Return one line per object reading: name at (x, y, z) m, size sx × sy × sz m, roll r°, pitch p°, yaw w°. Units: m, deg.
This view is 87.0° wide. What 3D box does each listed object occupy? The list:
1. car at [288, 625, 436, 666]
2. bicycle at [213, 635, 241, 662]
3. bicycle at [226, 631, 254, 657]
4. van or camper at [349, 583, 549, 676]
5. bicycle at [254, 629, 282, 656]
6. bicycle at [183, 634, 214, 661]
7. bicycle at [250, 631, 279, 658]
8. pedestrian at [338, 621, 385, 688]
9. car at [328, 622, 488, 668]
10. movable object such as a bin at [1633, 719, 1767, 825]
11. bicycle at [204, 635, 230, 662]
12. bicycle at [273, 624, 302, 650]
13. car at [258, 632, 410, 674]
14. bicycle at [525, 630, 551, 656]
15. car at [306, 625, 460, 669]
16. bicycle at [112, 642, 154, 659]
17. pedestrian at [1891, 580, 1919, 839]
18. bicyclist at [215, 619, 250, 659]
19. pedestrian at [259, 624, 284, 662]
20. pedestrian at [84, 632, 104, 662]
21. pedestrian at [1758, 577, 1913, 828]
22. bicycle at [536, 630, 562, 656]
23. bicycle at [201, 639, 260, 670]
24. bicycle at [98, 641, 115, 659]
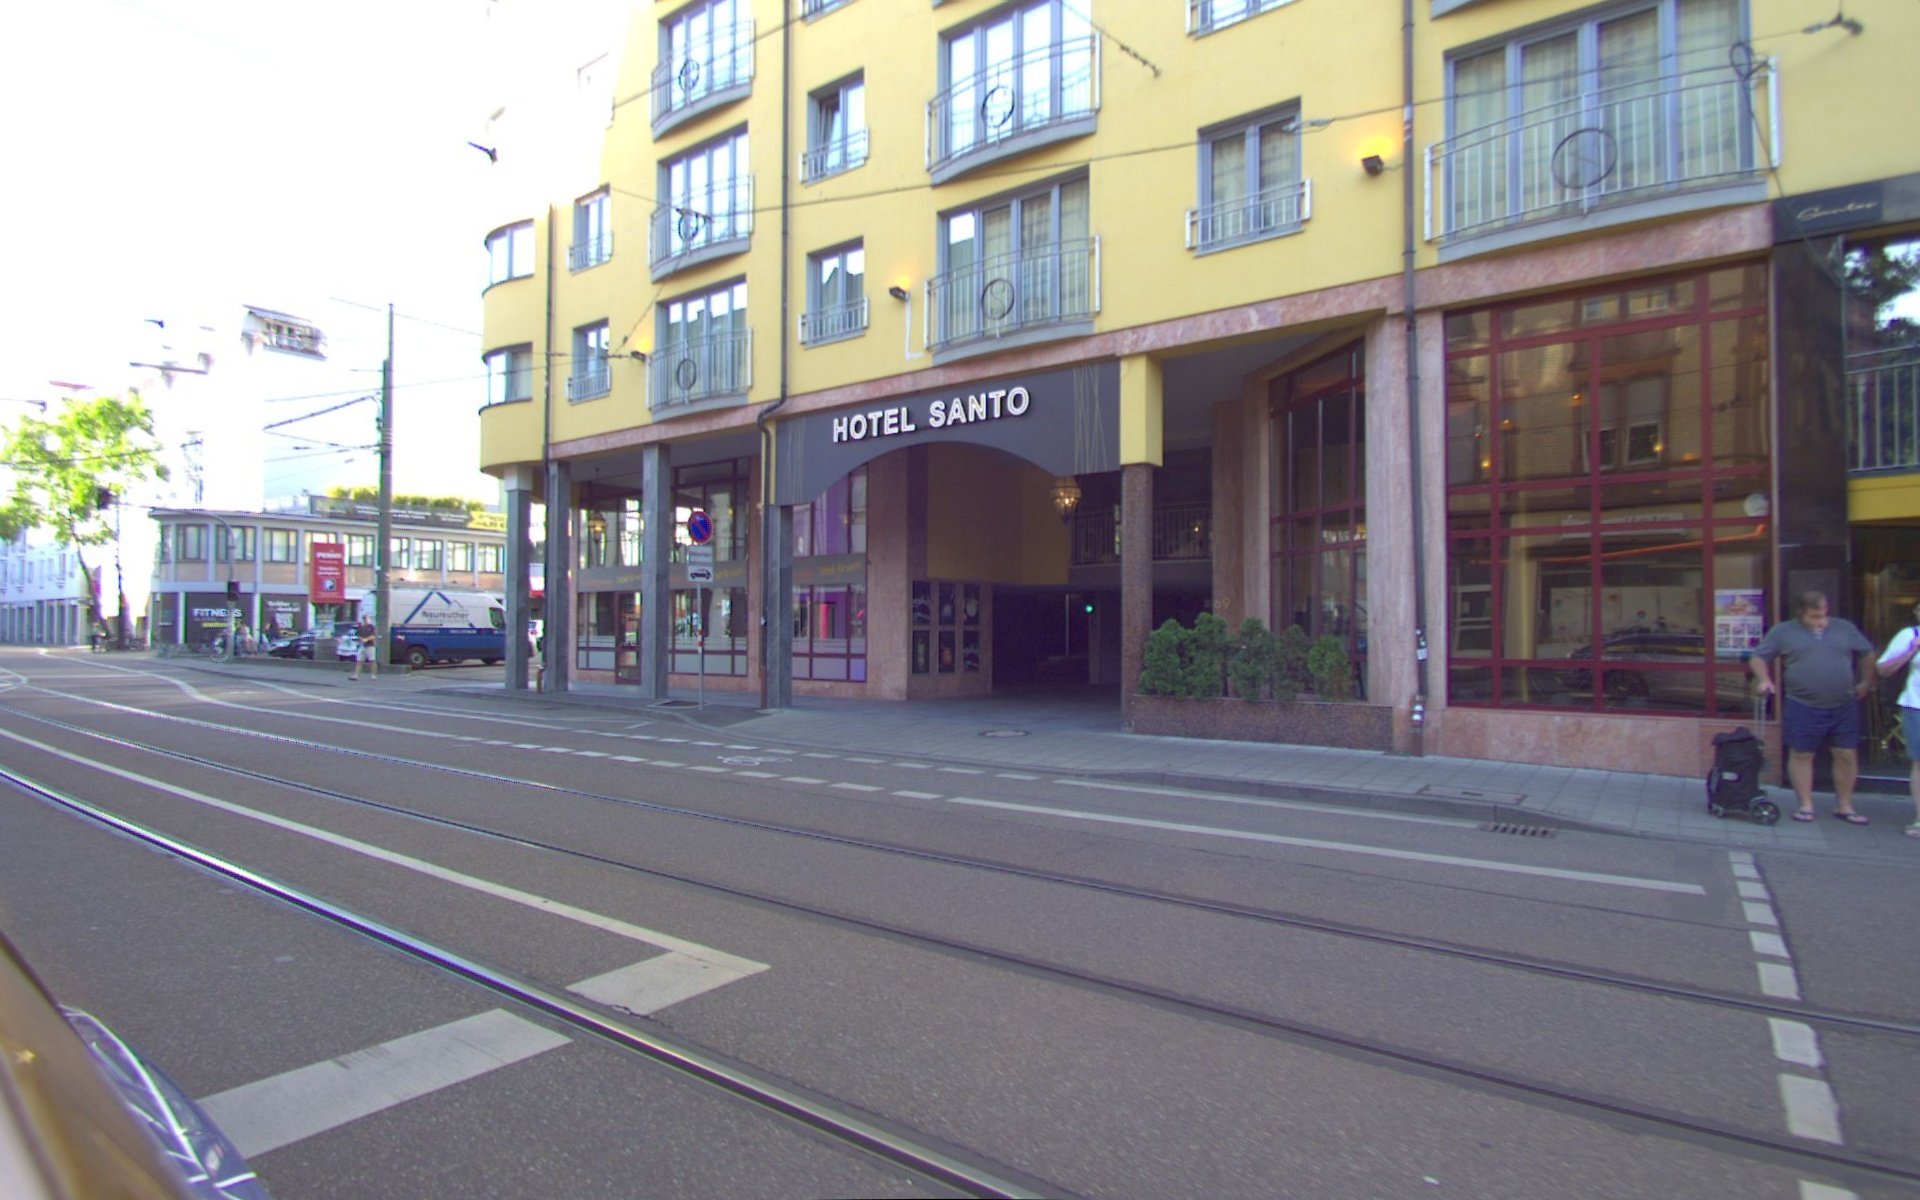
car at (-22.996, 1.763, 39.084) m, size 1.876 × 1.487 × 4.545 m, roll -2°, pitch -3°, yaw 37°
bicycle at (-33.127, 2.186, 45.733) m, size 1.827 × 1.196 × 0.444 m, roll -2°, pitch -3°, yaw 35°
bicycle at (-32.769, 2.006, 46.054) m, size 1.827 × 1.196 × 0.439 m, roll -2°, pitch -3°, yaw 35°
van or camper at (-17.026, 1.015, 34.028) m, size 2.312 × 2.849 × 5.552 m, roll -2°, pitch -3°, yaw 38°
bicycle at (-31.921, 1.968, 46.686) m, size 1.827 × 1.196 × 0.444 m, roll -2°, pitch -3°, yaw 35°
bicycle at (-33.980, 2.115, 45.179) m, size 1.825 × 1.196 × 0.442 m, roll -2°, pitch -3°, yaw 32°
bicycle at (-31.435, 1.999, 45.735) m, size 1.827 × 1.196 × 0.444 m, roll -2°, pitch -3°, yaw 35°
pedestrian at (-16.834, 1.528, 28.464) m, size 0.908 × 1.846 × 0.826 m, roll -2°, pitch -3°, yaw 37°
car at (-19.183, 1.553, 35.344) m, size 1.876 × 1.487 × 4.545 m, roll -2°, pitch -3°, yaw 37°
movable object such as a bin at (5.997, 1.373, 8.214) m, size 0.840 × 0.721 × 0.379 m, roll -2°, pitch 2°, yaw 39°
bicycle at (-33.199, 2.147, 45.213) m, size 1.828 × 1.196 × 0.436 m, roll -2°, pitch -3°, yaw 37°
bicycle at (-31.304, 1.732, 47.109) m, size 1.827 × 1.196 × 0.444 m, roll -2°, pitch -3°, yaw 35°
car at (-24.991, 2.099, 40.568) m, size 1.876 × 1.595 × 4.848 m, roll -2°, pitch -3°, yaw 37°
bicycle at (-19.822, 2.030, 47.526) m, size 1.832 × 1.196 × 0.426 m, roll -2°, pitch -3°, yaw 44°
car at (-21.164, 1.717, 37.277) m, size 1.876 × 1.487 × 4.545 m, roll -2°, pitch -3°, yaw 37°
bicycle at (-47.381, 2.888, 58.024) m, size 0.389 × 0.919 × 1.825 m, roll -6°, pitch -4°, yaw 42°
pedestrian at (7.412, 0.783, 7.377) m, size 0.752 × 1.832 × 1.033 m, roll -2°, pitch 2°, yaw 36°
bicyclist at (-29.243, 1.561, 40.697) m, size 0.686 × 1.561 × 0.832 m, roll 1°, pitch -2°, yaw 20°
pedestrian at (-30.954, 1.938, 45.501) m, size 0.682 × 1.710 × 0.675 m, roll -2°, pitch -3°, yaw 35°
pedestrian at (-49.414, 2.687, 57.763) m, size 0.621 × 1.729 × 0.828 m, roll 1°, pitch -2°, yaw -25°
pedestrian at (6.712, 0.743, 7.804) m, size 0.799 × 1.784 × 0.740 m, roll -2°, pitch 2°, yaw 36°
bicycle at (-19.379, 2.023, 47.753) m, size 1.832 × 1.196 × 0.426 m, roll -2°, pitch -3°, yaw 44°
bicycle at (-29.276, 2.185, 40.636) m, size 0.677 × 1.180 × 1.820 m, roll 1°, pitch -2°, yaw 19°
bicycle at (-48.364, 2.827, 57.324) m, size 1.849 × 0.919 × 0.384 m, roll -1°, pitch -1°, yaw 39°
